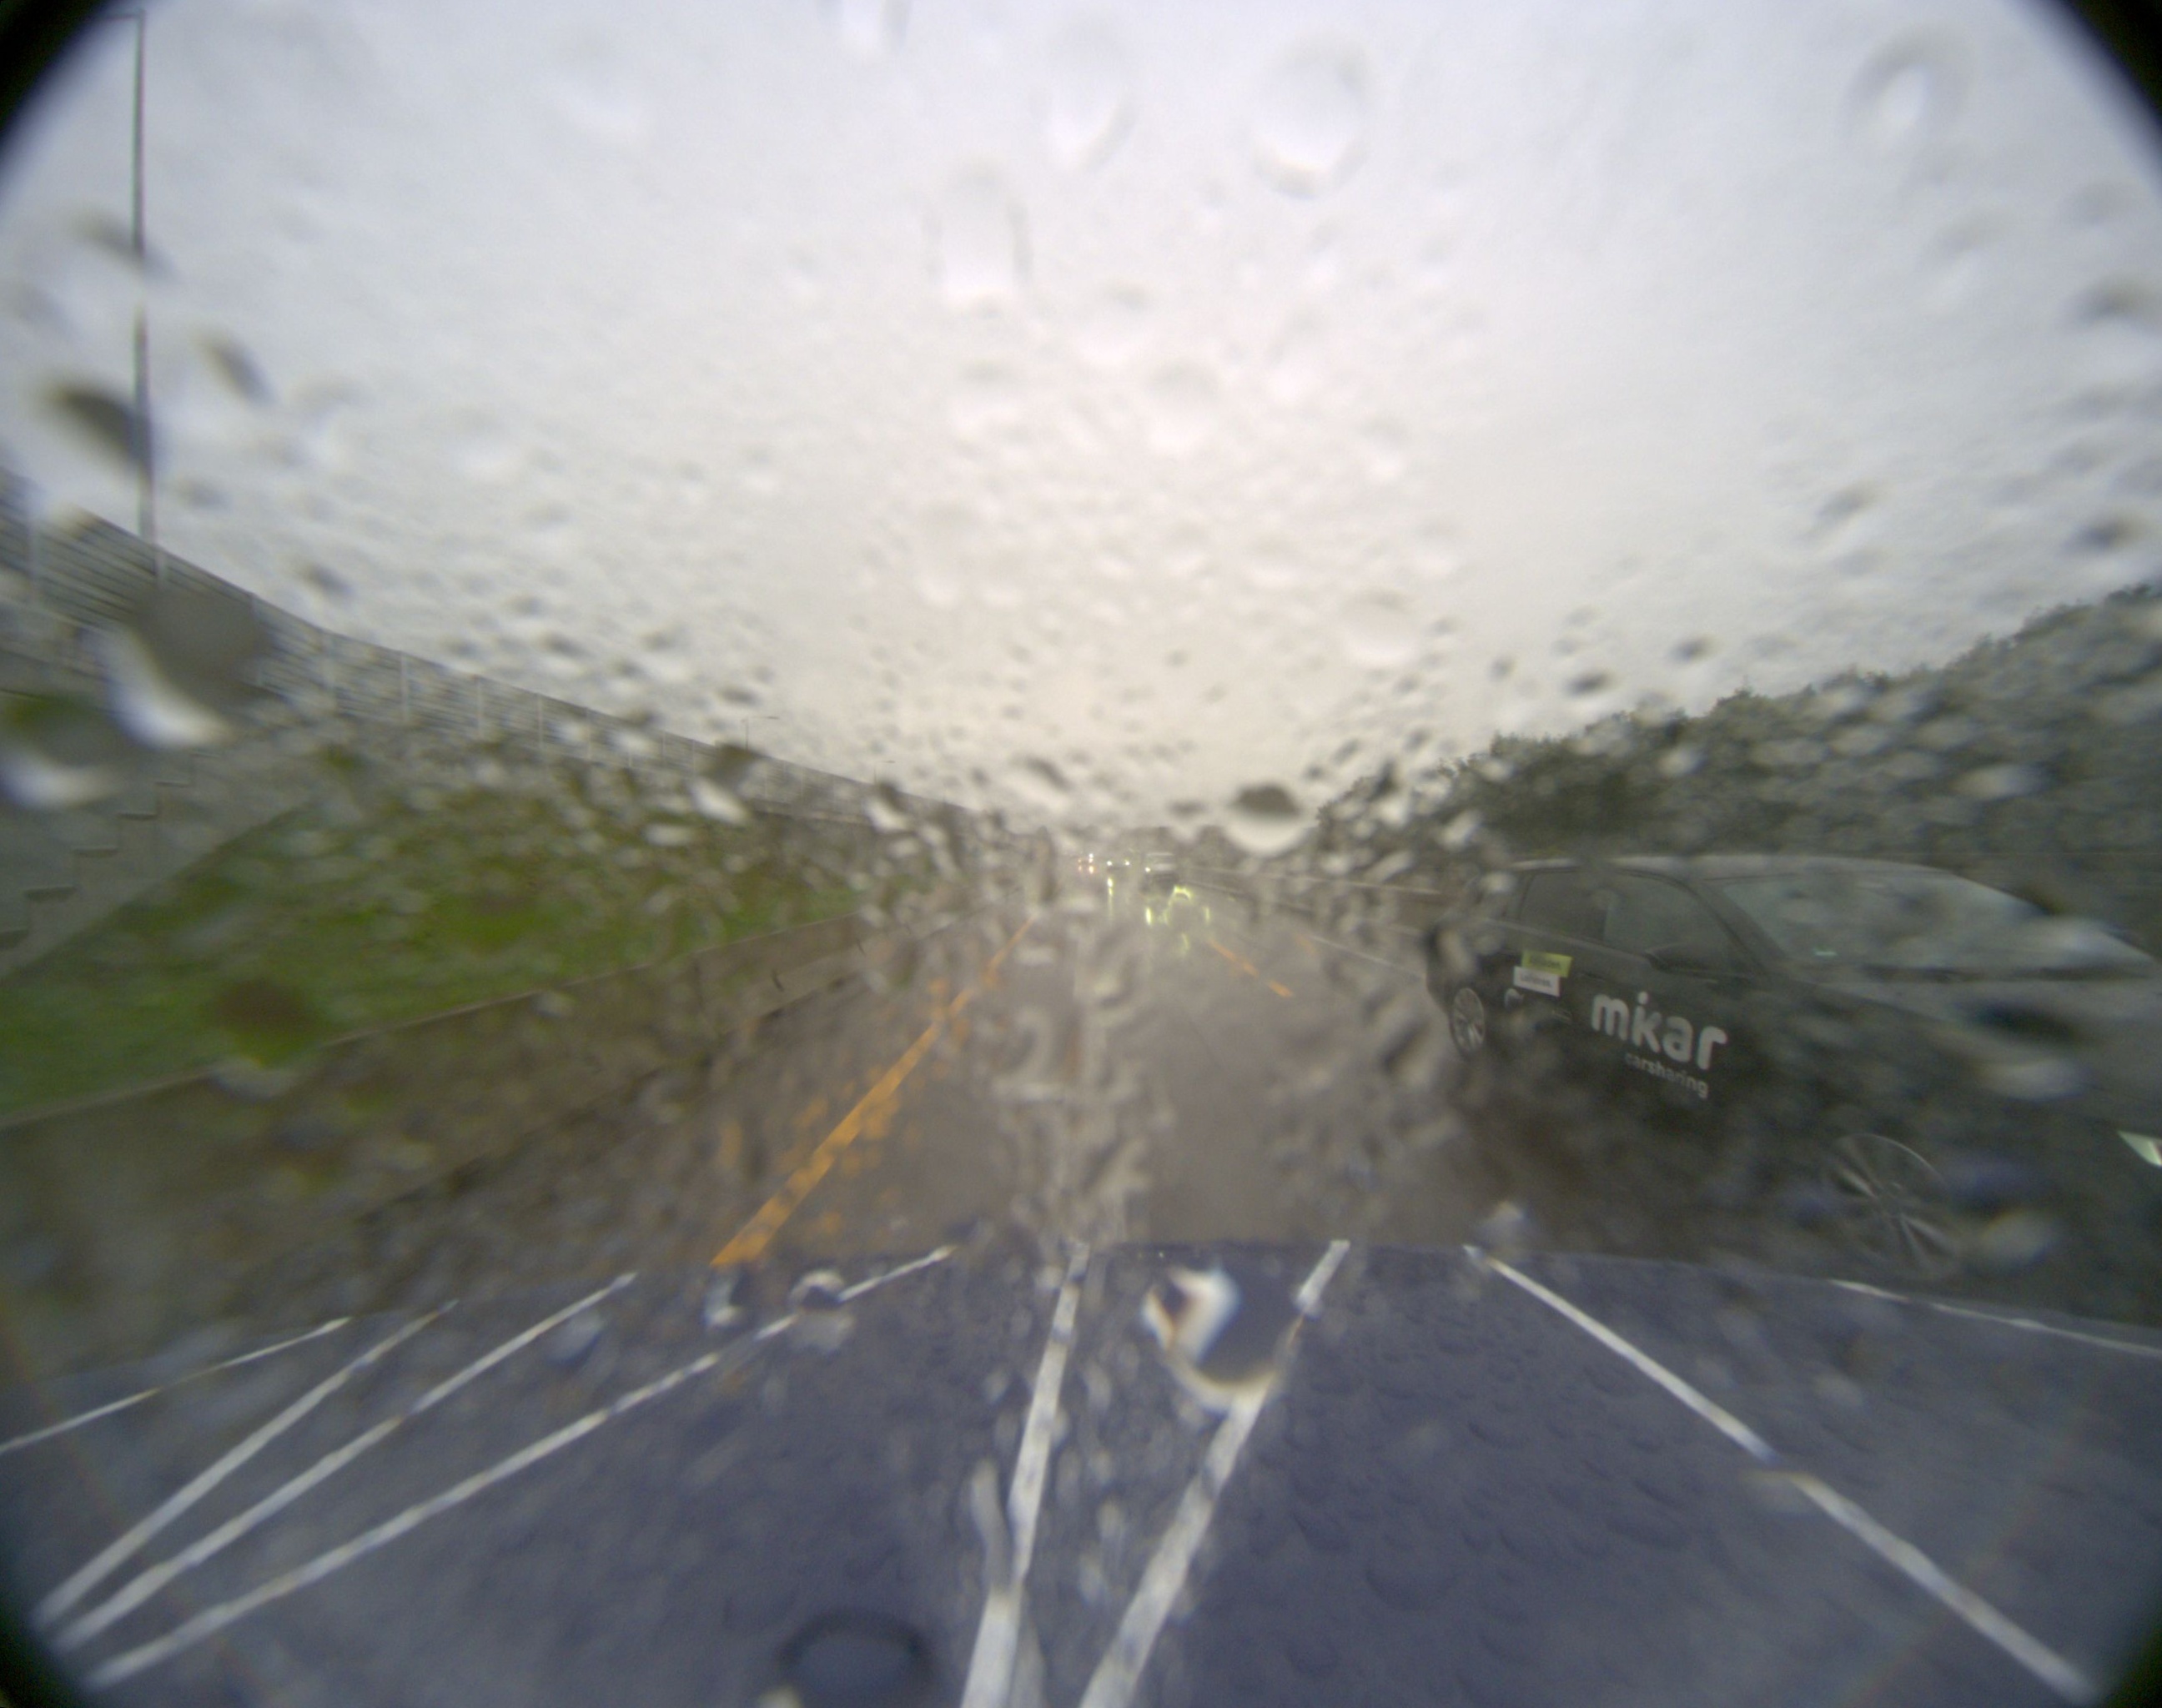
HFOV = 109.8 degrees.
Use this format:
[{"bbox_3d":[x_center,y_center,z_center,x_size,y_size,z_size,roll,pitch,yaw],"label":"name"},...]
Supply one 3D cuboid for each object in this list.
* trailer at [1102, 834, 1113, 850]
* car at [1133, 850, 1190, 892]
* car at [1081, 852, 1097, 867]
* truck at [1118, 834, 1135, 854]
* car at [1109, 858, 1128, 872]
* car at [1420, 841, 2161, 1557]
[{"bbox_3d":[7.835,-3.700,227.441,2.554,4.563,12.005,-2,2,-1],"label":"trailer"},{"bbox_3d":[3.568,0.705,34.454,1.972,1.671,3.998,-2,2,-2],"label":"car"},{"bbox_3d":[1.054,0.712,103.573,1.999,1.762,3.998,-2,2,-1],"label":"car"},{"bbox_3d":[9.407,-2.132,158.837,3.012,4.143,9.827,0,2,0],"label":"truck"},{"bbox_3d":[3.236,0.930,66.014,1.335,1.105,3.198,1,0,-1],"label":"car"},{"bbox_3d":[3.434,0.724,3.407,1.943,1.519,4.796,-1,1,4],"label":"car"}]
